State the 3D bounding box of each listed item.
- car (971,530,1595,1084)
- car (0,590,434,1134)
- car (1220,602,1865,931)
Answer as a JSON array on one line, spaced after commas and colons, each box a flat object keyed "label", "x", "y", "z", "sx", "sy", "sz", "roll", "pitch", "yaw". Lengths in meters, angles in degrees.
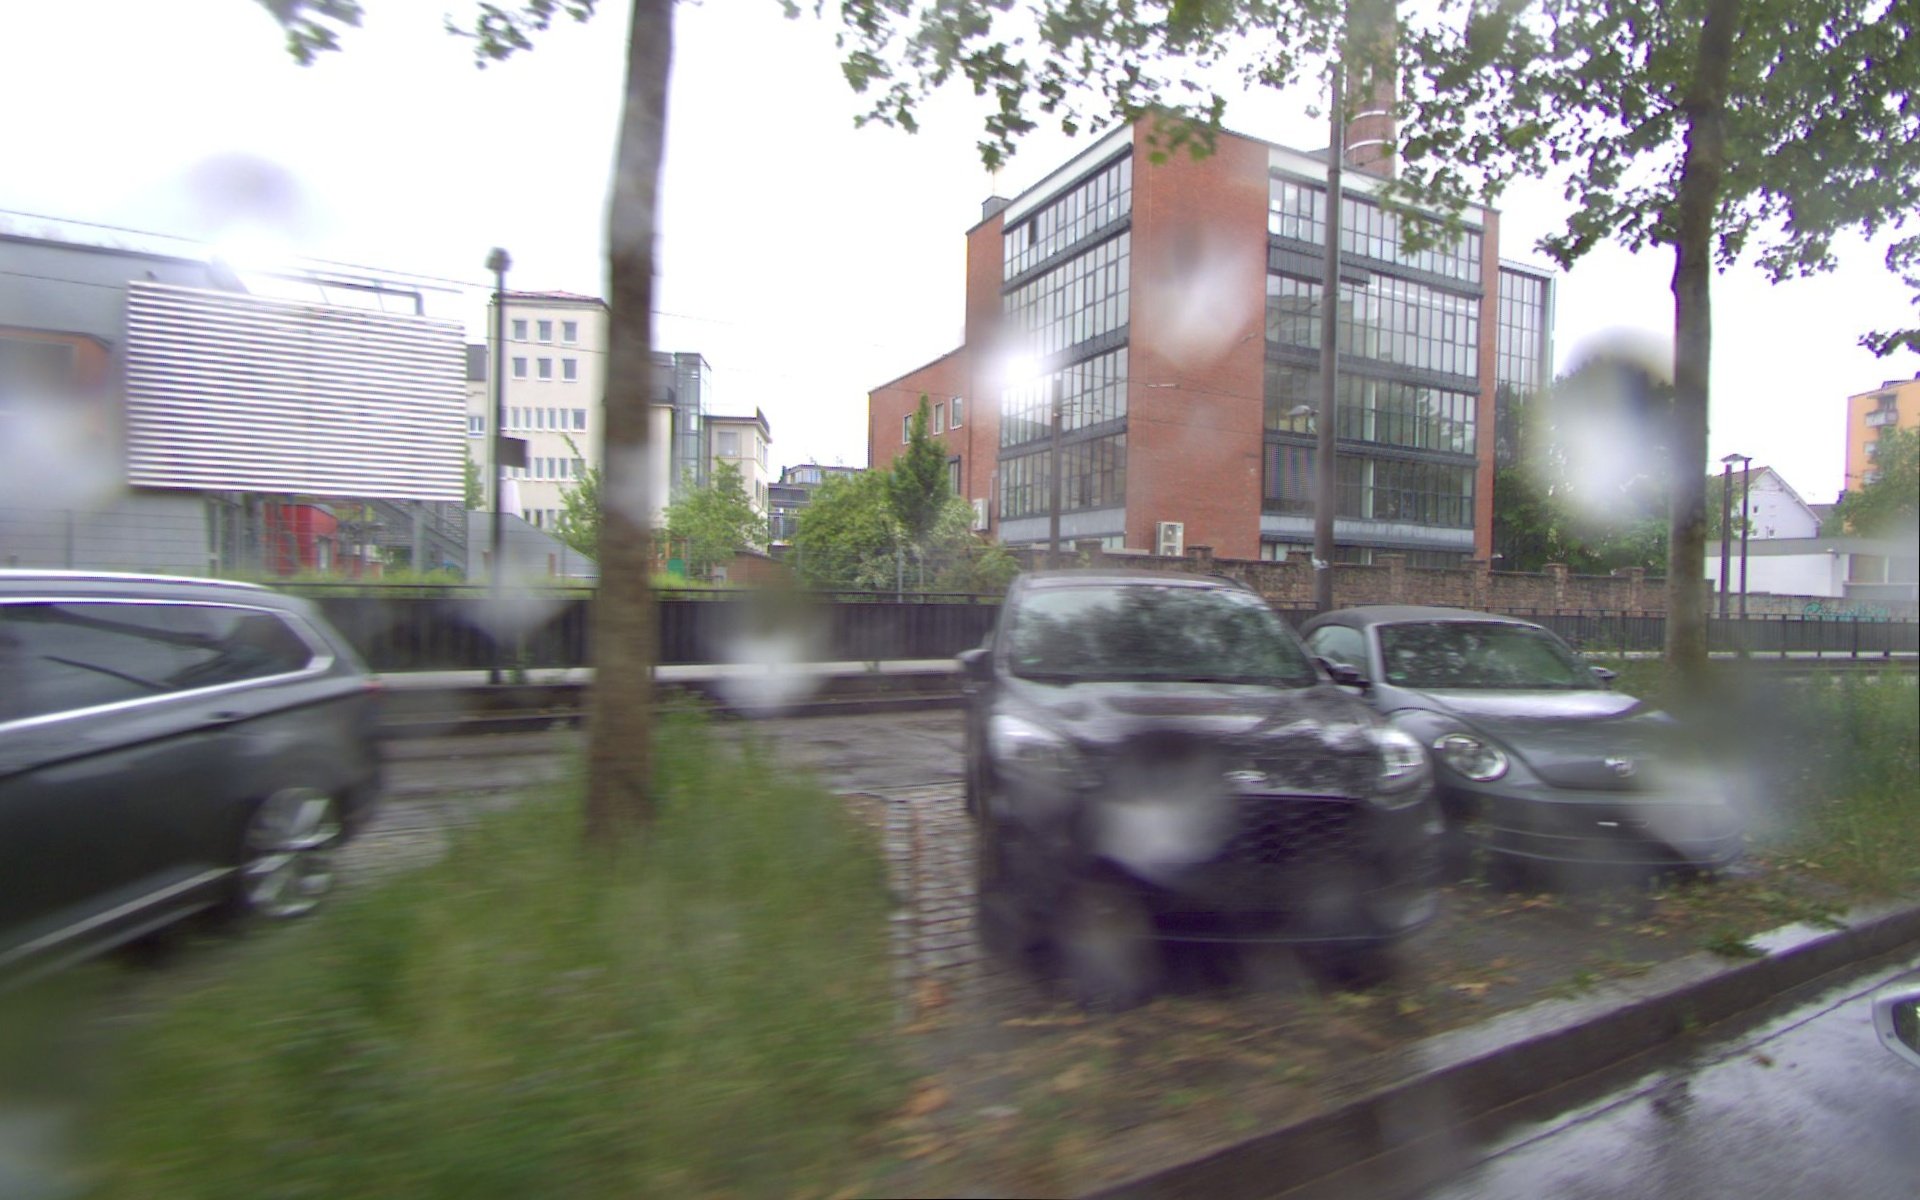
[{"label": "car", "x": 1.057, "y": 0.683, "z": 5.479, "sx": 1.922, "sy": 1.737, "sz": 4.532, "roll": -1, "pitch": -1, "yaw": 0}, {"label": "car", "x": -3.657, "y": 0.728, "z": 2.815, "sx": 1.885, "sy": 1.541, "sz": 4.561, "roll": 1, "pitch": 0, "yaw": 1}, {"label": "car", "x": 3.342, "y": 0.812, "z": 6.967, "sx": 1.922, "sy": 1.532, "sz": 4.365, "roll": -1, "pitch": -1, "yaw": 0}]
